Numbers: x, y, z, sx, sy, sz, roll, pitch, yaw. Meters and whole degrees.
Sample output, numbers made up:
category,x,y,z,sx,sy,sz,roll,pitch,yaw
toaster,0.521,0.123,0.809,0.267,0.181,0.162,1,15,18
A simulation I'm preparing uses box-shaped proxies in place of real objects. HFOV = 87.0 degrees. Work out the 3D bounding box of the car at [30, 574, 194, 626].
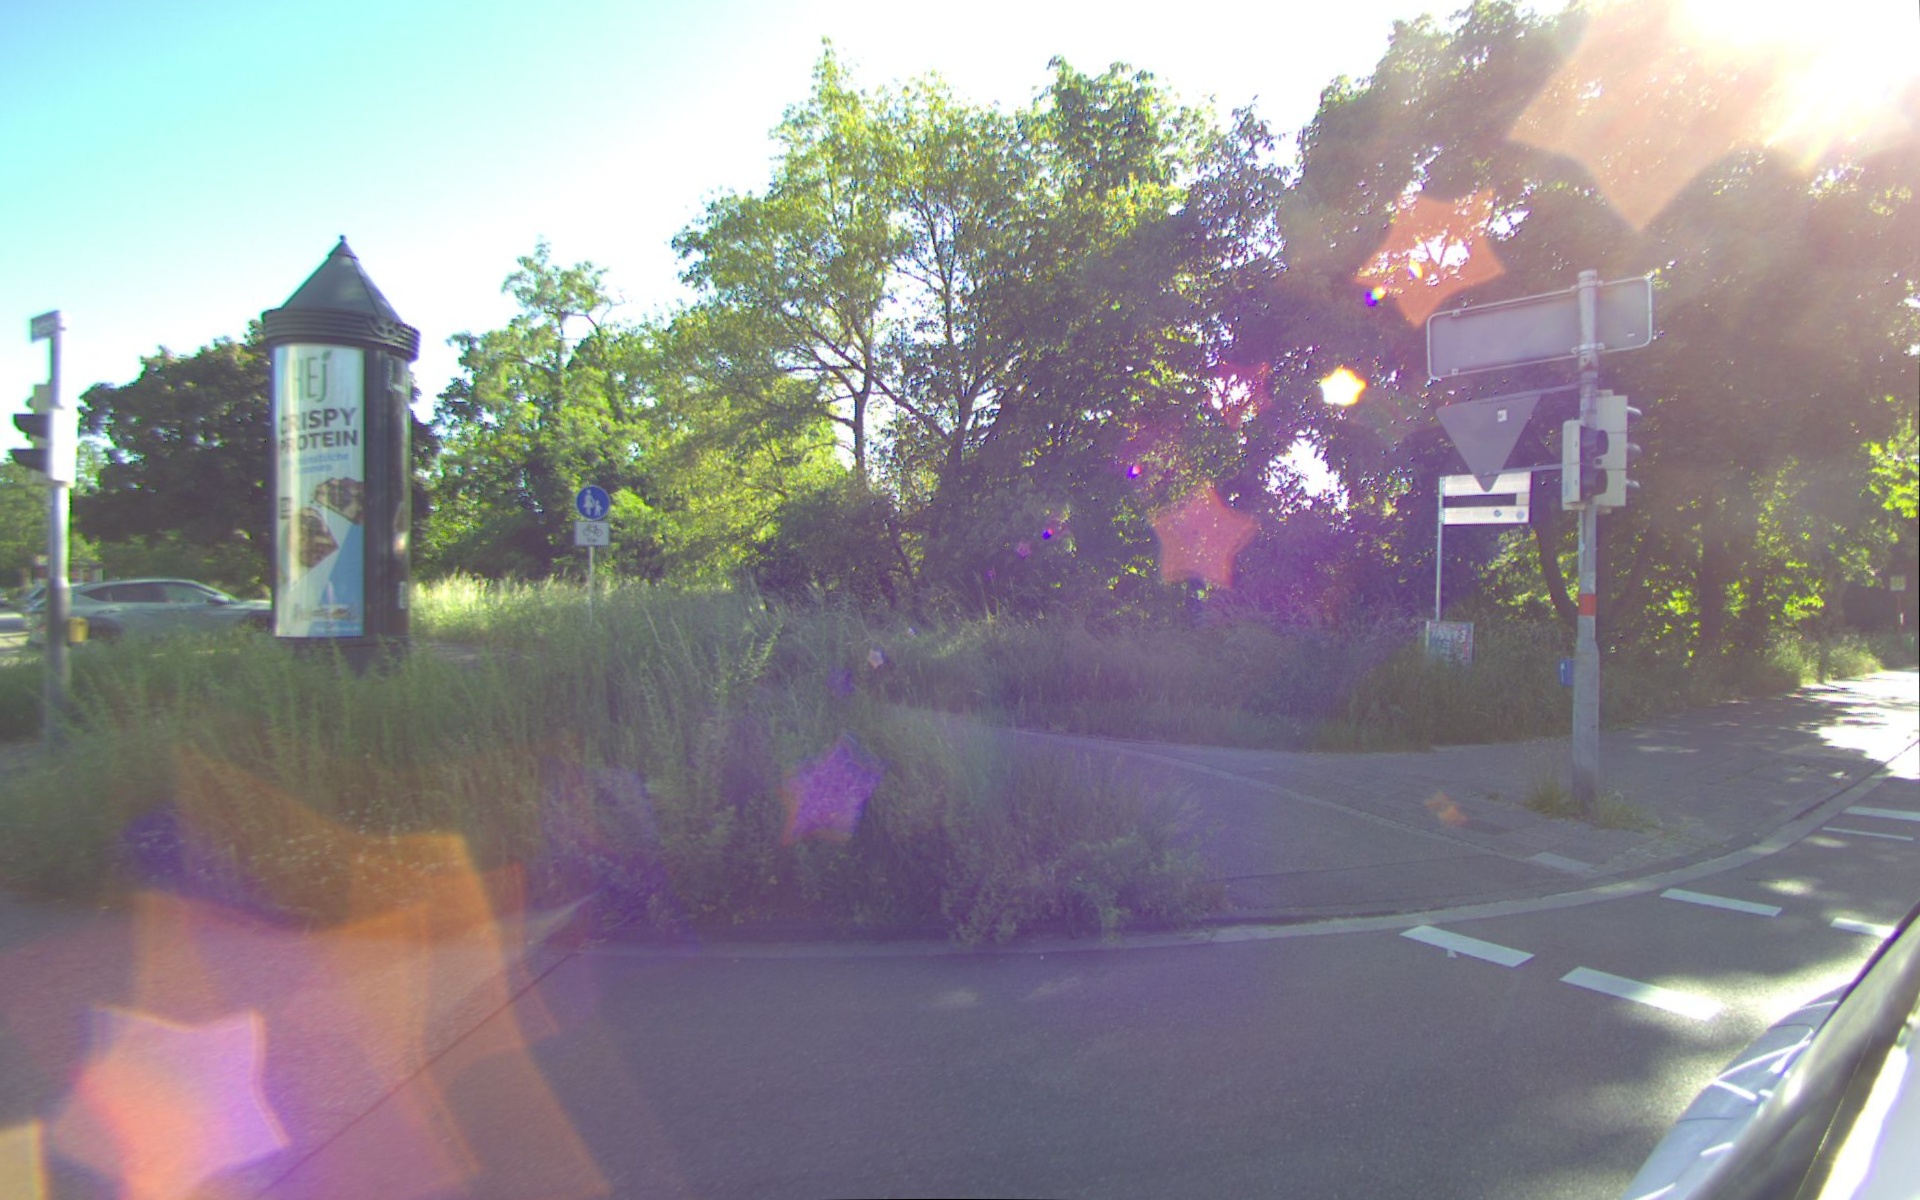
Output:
category,x,y,z,sx,sy,sz,roll,pitch,yaw
car,-28.888,-0.022,34.539,4.129,1.551,1.864,-4,1,-45

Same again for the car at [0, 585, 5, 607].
category,x,y,z,sx,sy,sz,roll,pitch,yaw
car,-72.750,-0.217,75.558,4.180,1.551,1.841,-2,1,43

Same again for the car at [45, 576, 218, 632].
category,x,y,z,sx,sy,sz,roll,pitch,yaw
car,-26.444,0.102,32.387,4.129,1.551,1.864,-4,1,-45

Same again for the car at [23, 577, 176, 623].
category,x,y,z,sx,sy,sz,roll,pitch,yaw
car,-31.348,0.034,36.947,4.127,1.551,1.864,2,-1,-45

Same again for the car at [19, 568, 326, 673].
category,x,y,z,sx,sy,sz,roll,pitch,yaw
car,-14.771,0.310,19.151,4.377,1.671,1.864,-4,1,-45
